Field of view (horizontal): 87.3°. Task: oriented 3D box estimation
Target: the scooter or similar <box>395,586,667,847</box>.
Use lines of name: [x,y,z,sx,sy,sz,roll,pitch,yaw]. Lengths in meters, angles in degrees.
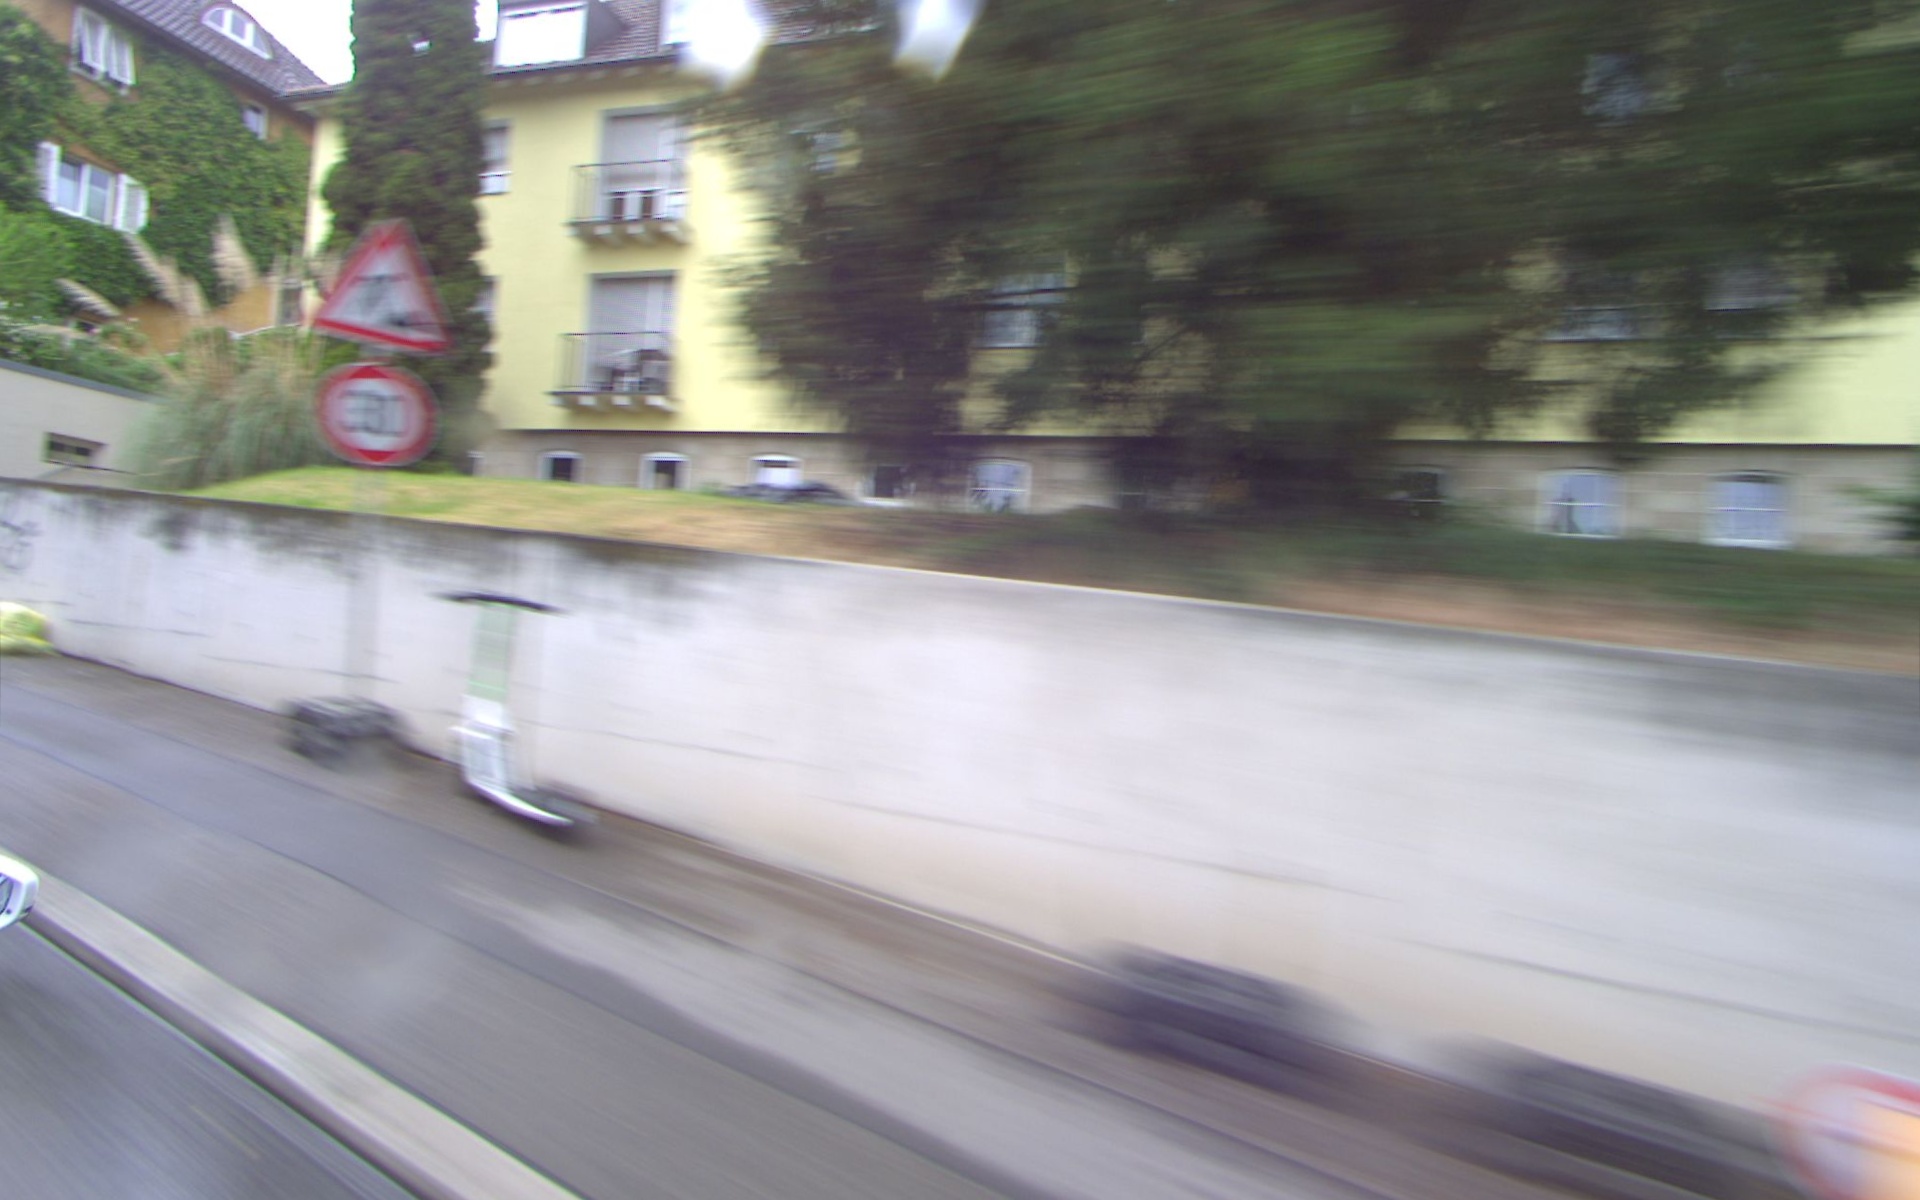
scooter or similar: [-2.337,0.574,5.446,1.347,1.147,0.598,7,1,31]
